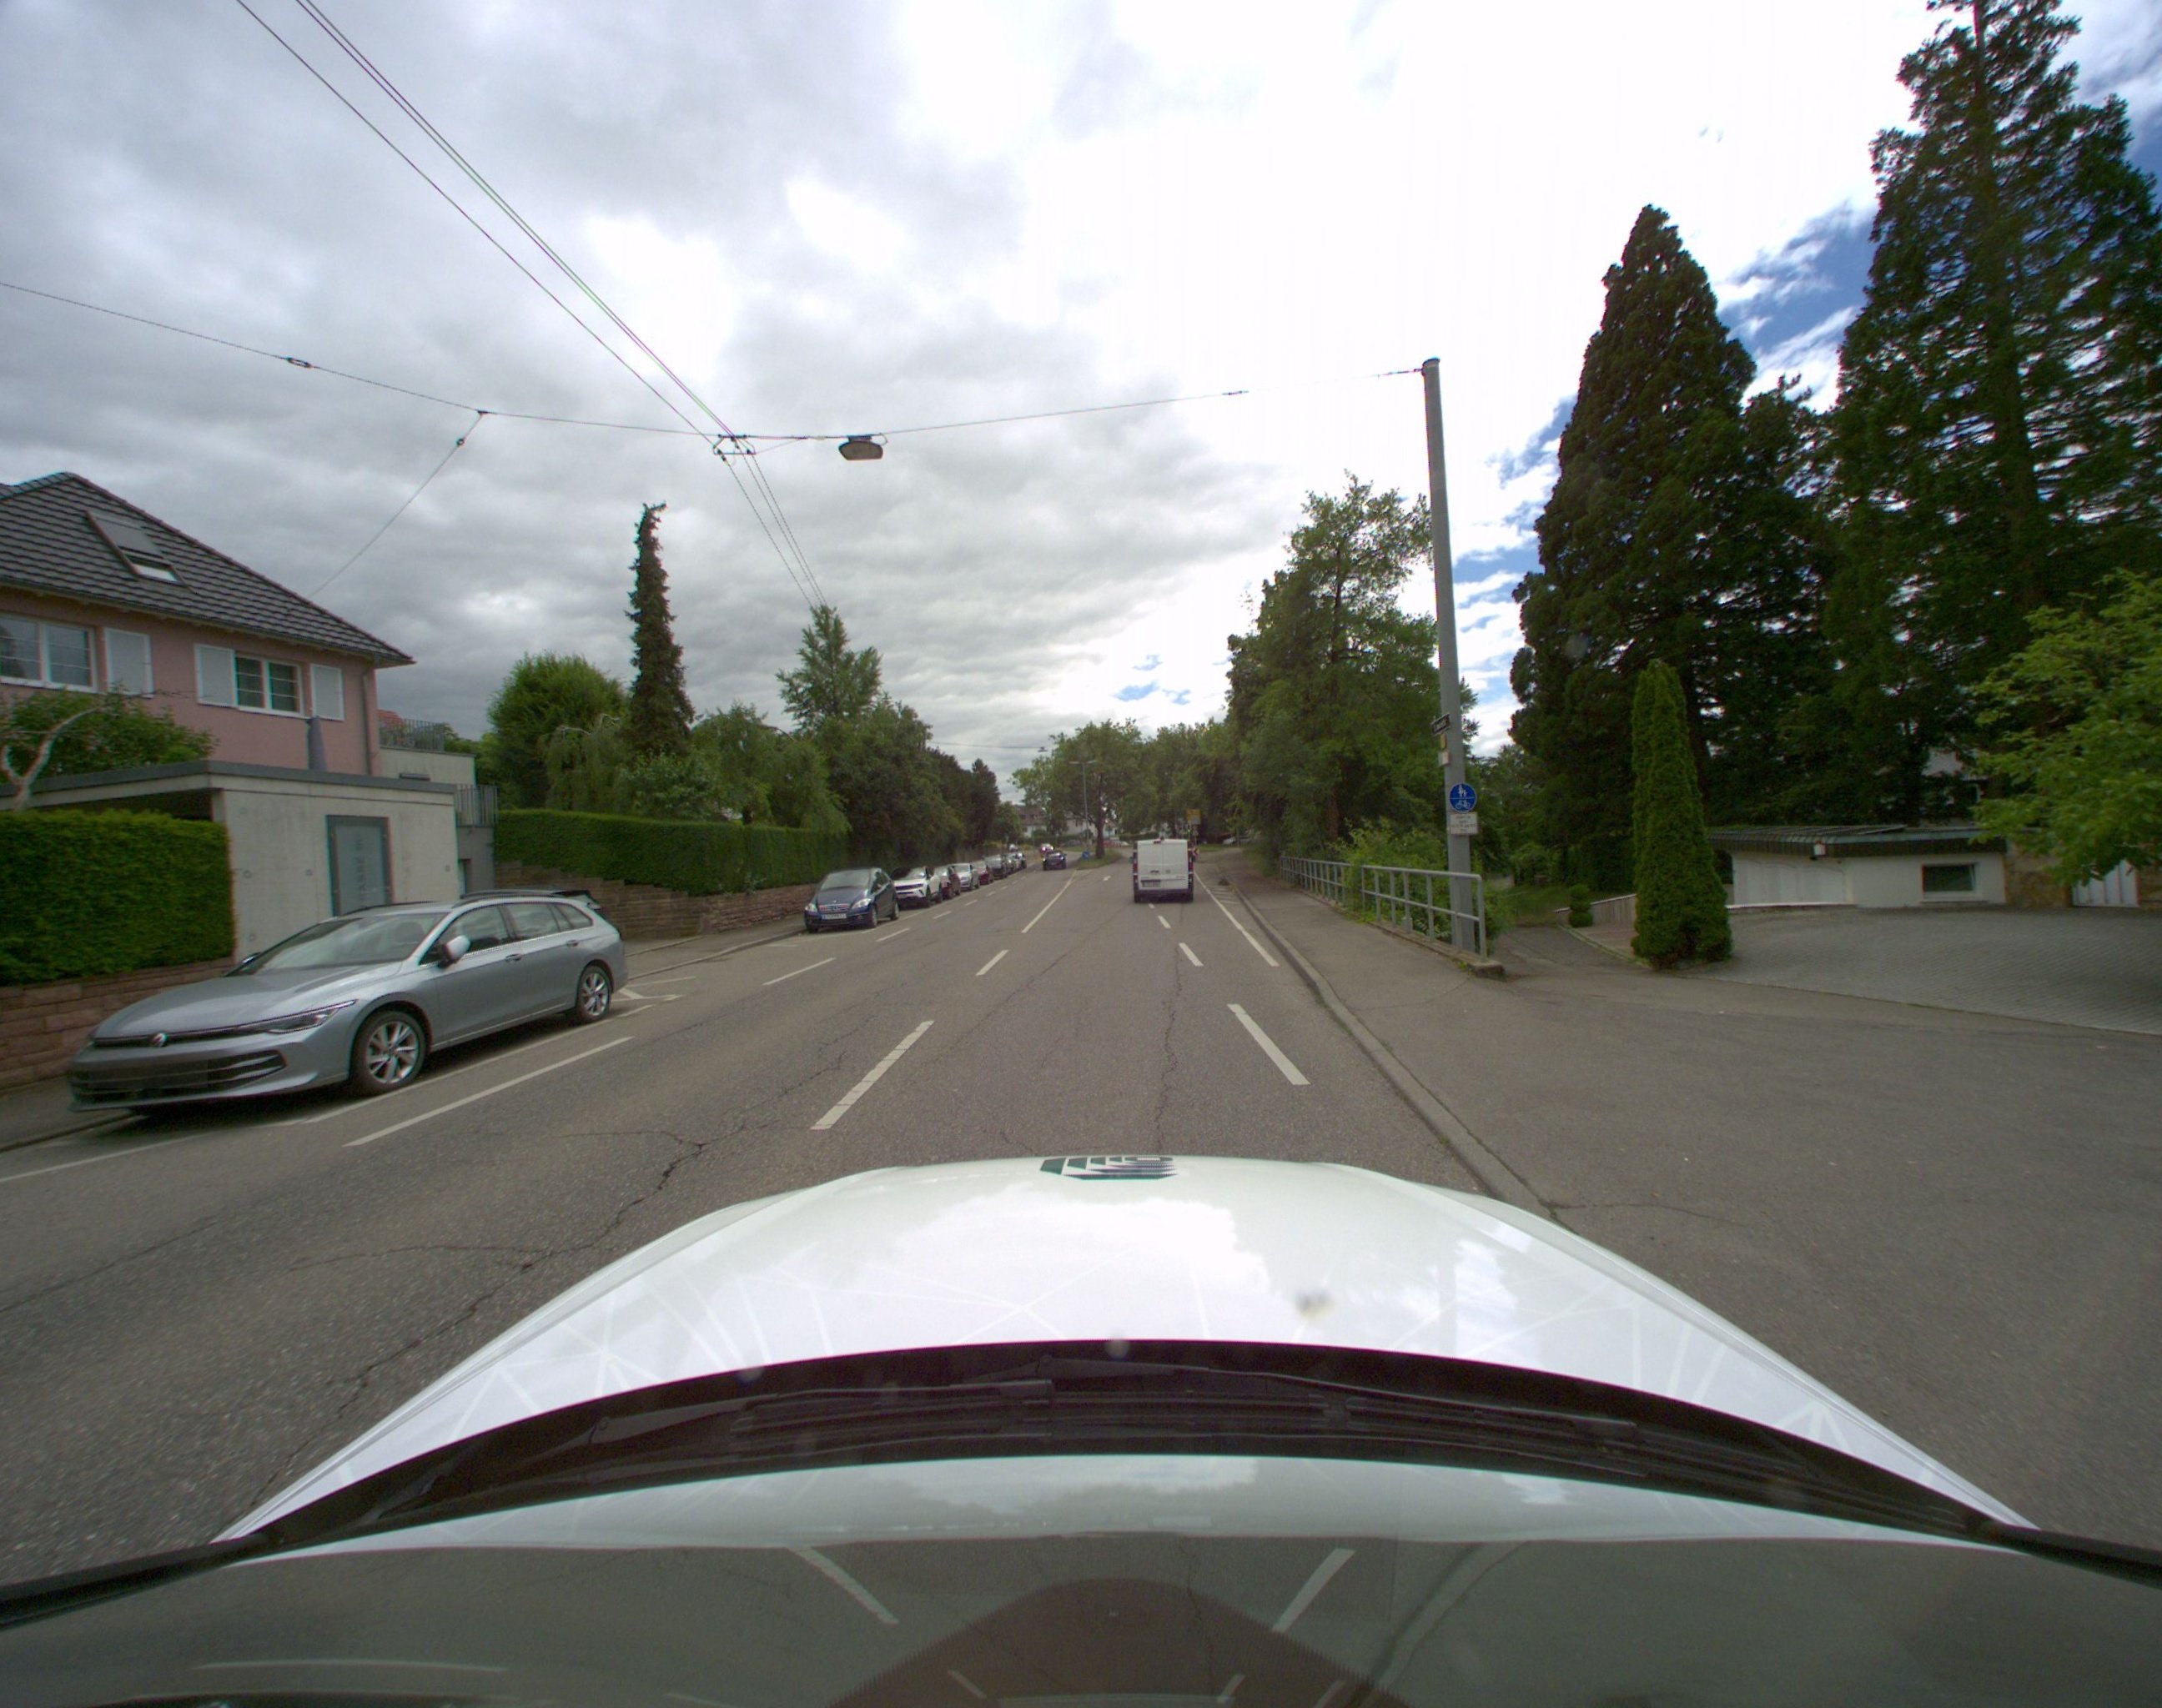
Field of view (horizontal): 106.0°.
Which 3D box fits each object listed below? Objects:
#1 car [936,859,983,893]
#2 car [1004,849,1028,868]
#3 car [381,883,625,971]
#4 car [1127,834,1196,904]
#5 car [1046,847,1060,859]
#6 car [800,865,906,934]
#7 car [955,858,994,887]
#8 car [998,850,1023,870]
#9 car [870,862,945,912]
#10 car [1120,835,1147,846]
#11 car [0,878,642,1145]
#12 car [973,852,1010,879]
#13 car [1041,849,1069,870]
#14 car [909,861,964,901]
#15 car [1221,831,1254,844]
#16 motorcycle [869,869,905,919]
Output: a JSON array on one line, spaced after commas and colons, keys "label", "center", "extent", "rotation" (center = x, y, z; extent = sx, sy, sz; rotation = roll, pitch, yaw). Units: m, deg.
[{"label": "car", "center": [-6.207, 1.080, 42.110], "extent": [1.664, 1.488, 4.431], "rotation": [-4, 0, 0]}, {"label": "car", "center": [-6.164, 0.373, 77.663], "extent": [1.883, 1.625, 4.428], "rotation": [-3, 0, -2]}, {"label": "car", "center": [-11.322, 1.401, 16.089], "extent": [3.567, 1.390, 1.854], "rotation": [-3, 0, 9]}, {"label": "car", "center": [2.579, 0.428, 26.815], "extent": [1.997, 2.038, 5.016], "rotation": [-1, 0, 4]}, {"label": "car", "center": [-4.294, -0.144, 126.188], "extent": [1.991, 1.587, 3.997], "rotation": [-4, 0, 0]}, {"label": "car", "center": [-6.154, 1.164, 22.438], "extent": [1.673, 1.556, 3.971], "rotation": [-5, 0, 0]}, {"label": "car", "center": [-6.320, 1.078, 48.913], "extent": [1.774, 1.438, 3.998], "rotation": [-4, 0, -1]}, {"label": "car", "center": [-6.215, 0.499, 72.319], "extent": [1.667, 1.592, 4.096], "rotation": [-5, 1, 0]}, {"label": "car", "center": [-6.356, 1.174, 30.279], "extent": [1.884, 1.494, 4.025], "rotation": [-5, 1, -1]}, {"label": "car", "center": [10.121, -2.630, 157.034], "extent": [4.683, 1.769, 2.013], "rotation": [-2, 1, 39]}, {"label": "car", "center": [-6.219, 1.103, 7.604], "extent": [1.804, 1.455, 4.411], "rotation": [-5, 0, -1]}, {"label": "car", "center": [-6.096, 0.762, 55.897], "extent": [1.988, 1.643, 4.464], "rotation": [-4, 0, -1]}, {"label": "car", "center": [-2.156, 0.457, 68.621], "extent": [1.835, 1.647, 4.216], "rotation": [-4, 0, 3]}, {"label": "car", "center": [-6.271, 1.139, 35.787], "extent": [1.665, 1.478, 3.909], "rotation": [-4, 1, -1]}, {"label": "car", "center": [23.882, -2.543, 124.608], "extent": [4.758, 1.769, 1.981], "rotation": [-4, 1, -29]}, {"label": "motorcycle", "center": [-6.196, 1.232, 25.948], "extent": [0.888, 1.355, 2.294], "rotation": [-6, 2, -16]}]
